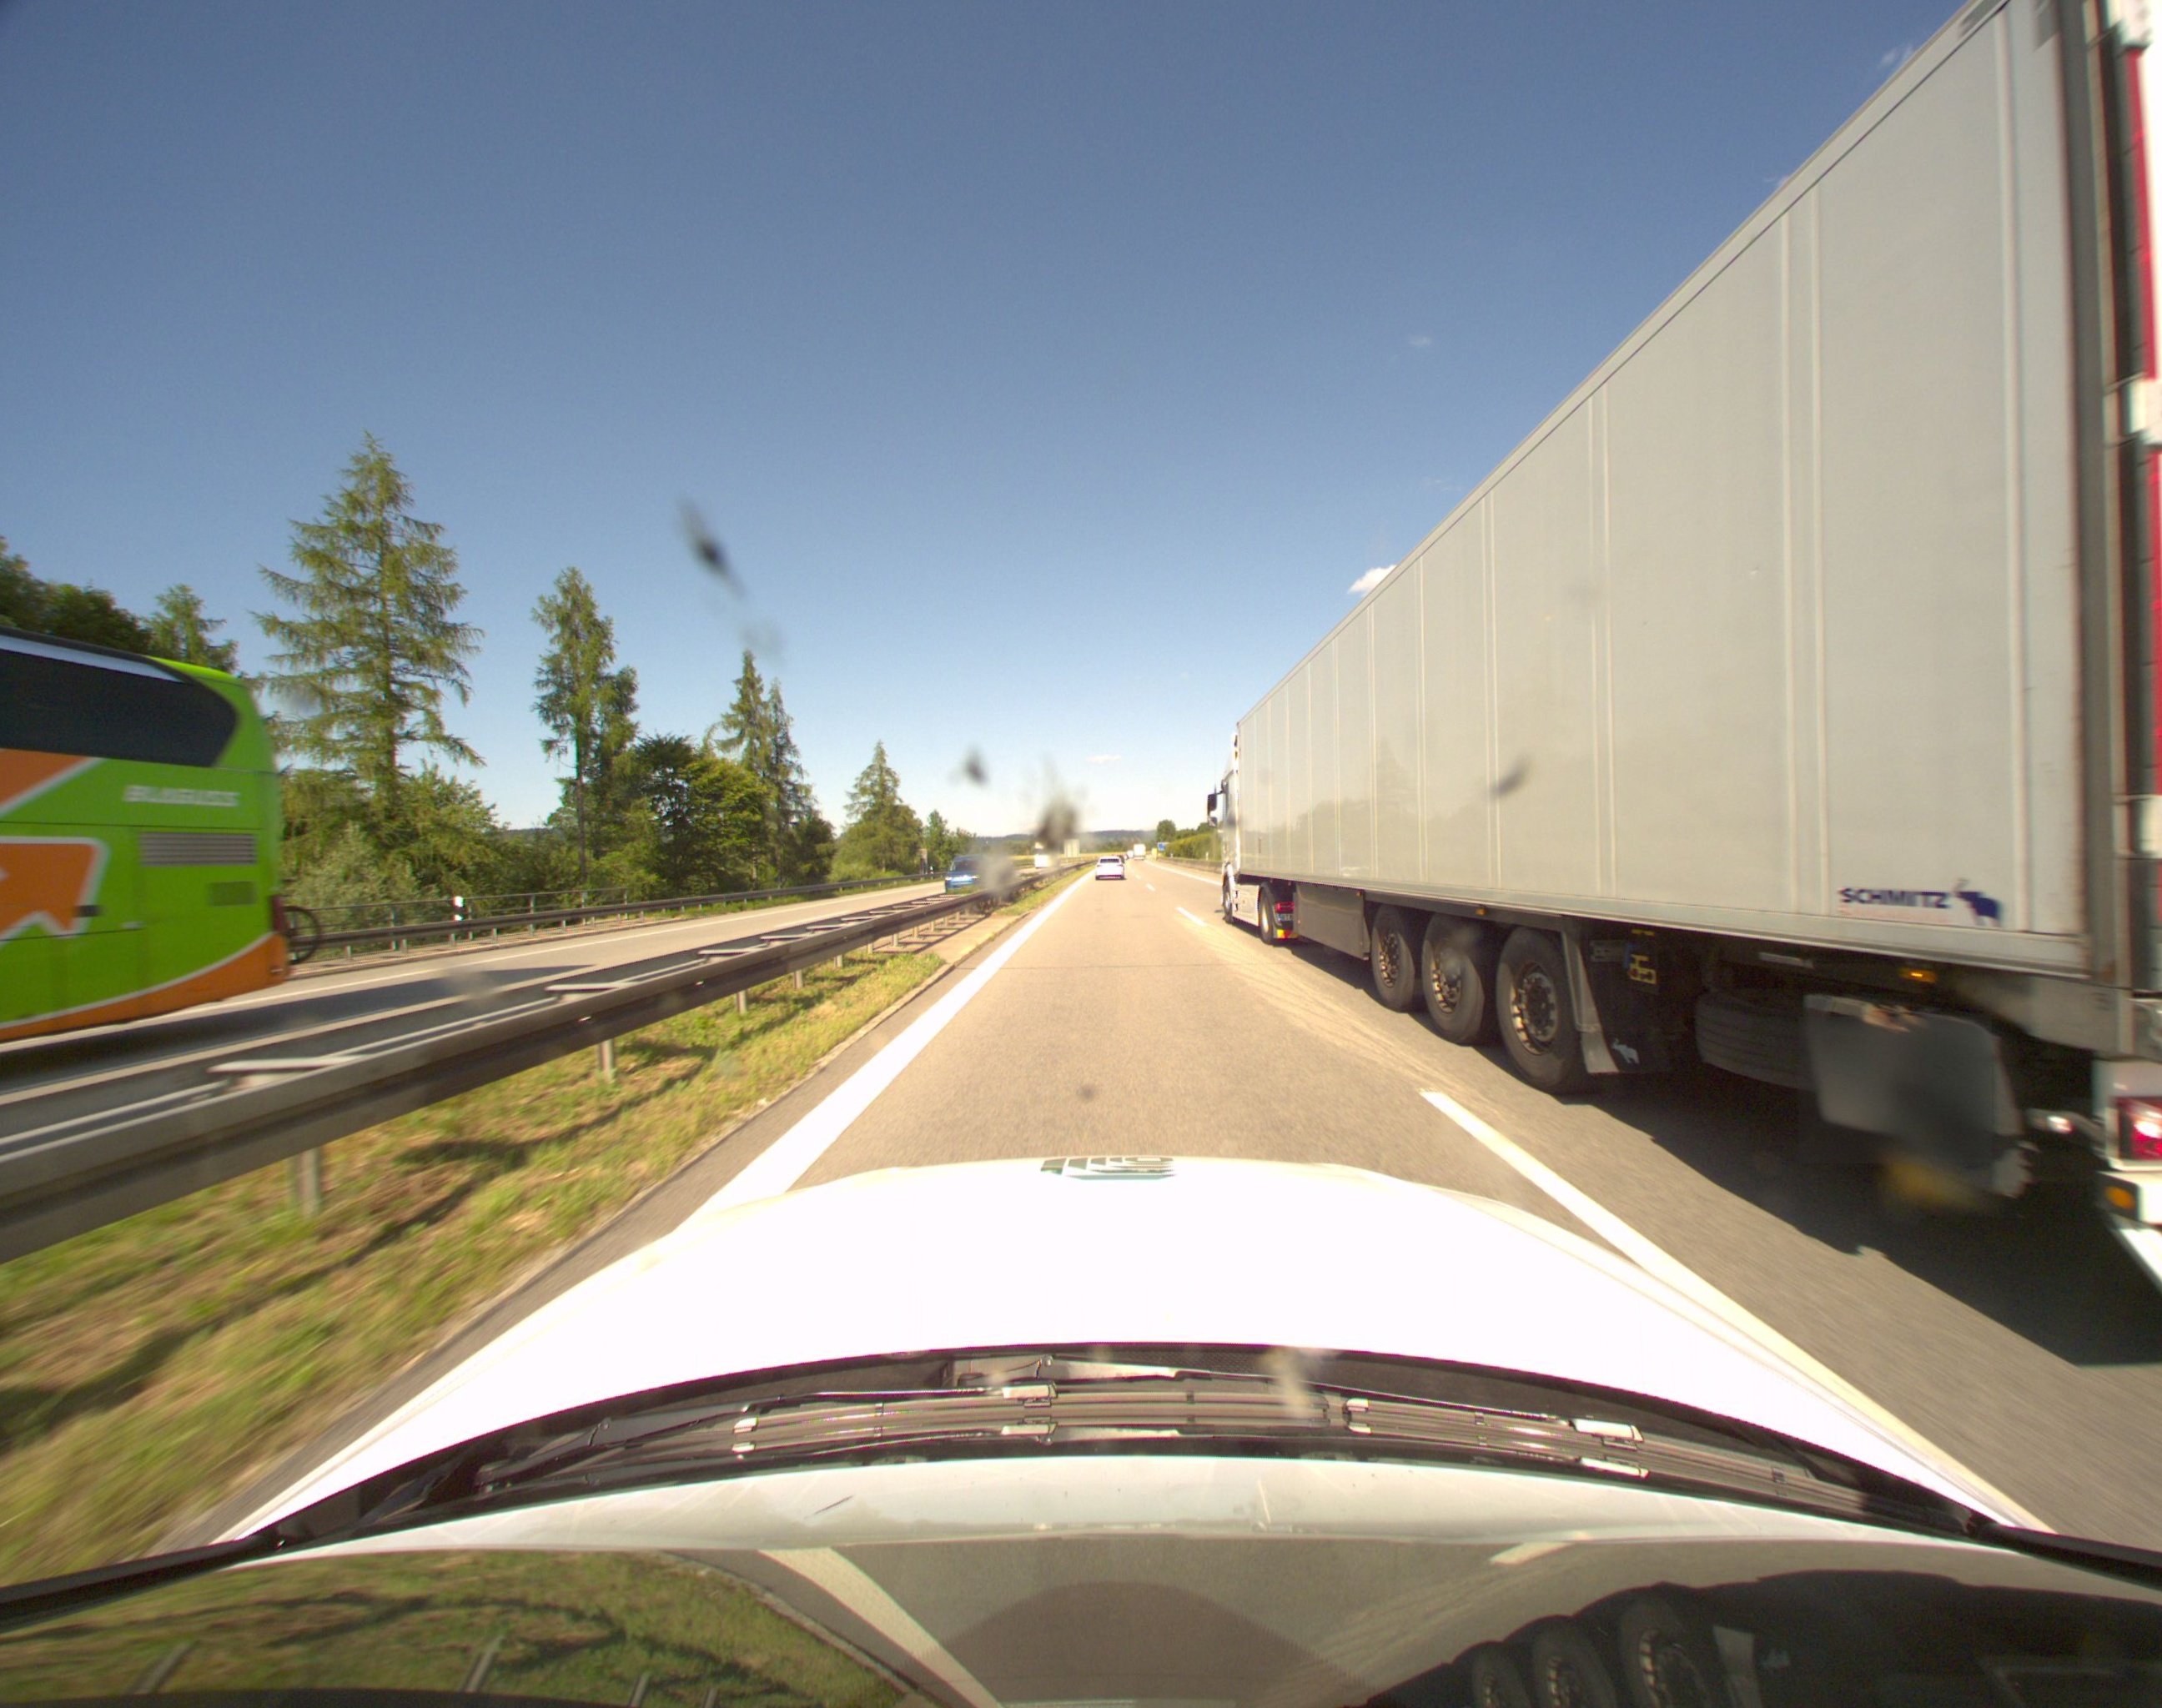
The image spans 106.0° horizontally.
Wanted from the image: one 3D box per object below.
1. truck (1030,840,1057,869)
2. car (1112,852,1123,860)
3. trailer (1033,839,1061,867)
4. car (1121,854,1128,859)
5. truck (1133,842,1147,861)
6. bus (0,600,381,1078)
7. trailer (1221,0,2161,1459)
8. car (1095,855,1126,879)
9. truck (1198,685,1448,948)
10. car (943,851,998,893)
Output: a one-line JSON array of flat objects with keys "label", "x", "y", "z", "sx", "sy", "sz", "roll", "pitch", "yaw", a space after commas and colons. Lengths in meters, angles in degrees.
[{"label": "truck", "x": -5.688, "y": 0.064, "z": 124.112, "sx": 3.144, "sy": 4.101, "sz": 7.740, "roll": -3, "pitch": 0, "yaw": 3}, {"label": "car", "x": 6.922, "y": 0.334, "z": 152.293, "sx": 1.762, "sy": 1.421, "sz": 4.502, "roll": -1, "pitch": 0, "yaw": 6}, {"label": "trailer", "x": -5.337, "y": -0.126, "z": 130.448, "sx": 3.138, "sy": 4.124, "sz": 13.451, "roll": -3, "pitch": 0, "yaw": 3}, {"label": "car", "x": 11.957, "y": 0.706, "z": 222.313, "sx": 1.763, "sy": 1.421, "sz": 4.370, "roll": -1, "pitch": 0, "yaw": 4}, {"label": "truck", "x": 14.899, "y": -0.730, "z": 206.025, "sx": 3.137, "sy": 4.612, "sz": 8.919, "roll": -2, "pitch": 0, "yaw": 6}, {"label": "bus", "x": -10.698, "y": -0.069, "z": 3.090, "sx": 2.926, "sy": 4.054, "sz": 14.672, "roll": -3, "pitch": 0, "yaw": 1}, {"label": "trailer", "x": 4.051, "y": -0.623, "z": 8.925, "sx": 2.808, "sy": 3.966, "sz": 14.164, "roll": -3, "pitch": 0, "yaw": 2}, {"label": "car", "x": 1.793, "y": 0.779, "z": 51.212, "sx": 1.834, "sy": 1.421, "sz": 5.255, "roll": 0, "pitch": 0, "yaw": 1}, {"label": "truck", "x": 4.285, "y": -0.589, "z": 16.232, "sx": 2.830, "sy": 3.966, "sz": 7.045, "roll": -3, "pitch": 0, "yaw": 1}, {"label": "car", "x": -5.339, "y": 0.836, "z": 40.034, "sx": 1.747, "sy": 1.849, "sz": 5.013, "roll": -4, "pitch": 0, "yaw": 2}]
